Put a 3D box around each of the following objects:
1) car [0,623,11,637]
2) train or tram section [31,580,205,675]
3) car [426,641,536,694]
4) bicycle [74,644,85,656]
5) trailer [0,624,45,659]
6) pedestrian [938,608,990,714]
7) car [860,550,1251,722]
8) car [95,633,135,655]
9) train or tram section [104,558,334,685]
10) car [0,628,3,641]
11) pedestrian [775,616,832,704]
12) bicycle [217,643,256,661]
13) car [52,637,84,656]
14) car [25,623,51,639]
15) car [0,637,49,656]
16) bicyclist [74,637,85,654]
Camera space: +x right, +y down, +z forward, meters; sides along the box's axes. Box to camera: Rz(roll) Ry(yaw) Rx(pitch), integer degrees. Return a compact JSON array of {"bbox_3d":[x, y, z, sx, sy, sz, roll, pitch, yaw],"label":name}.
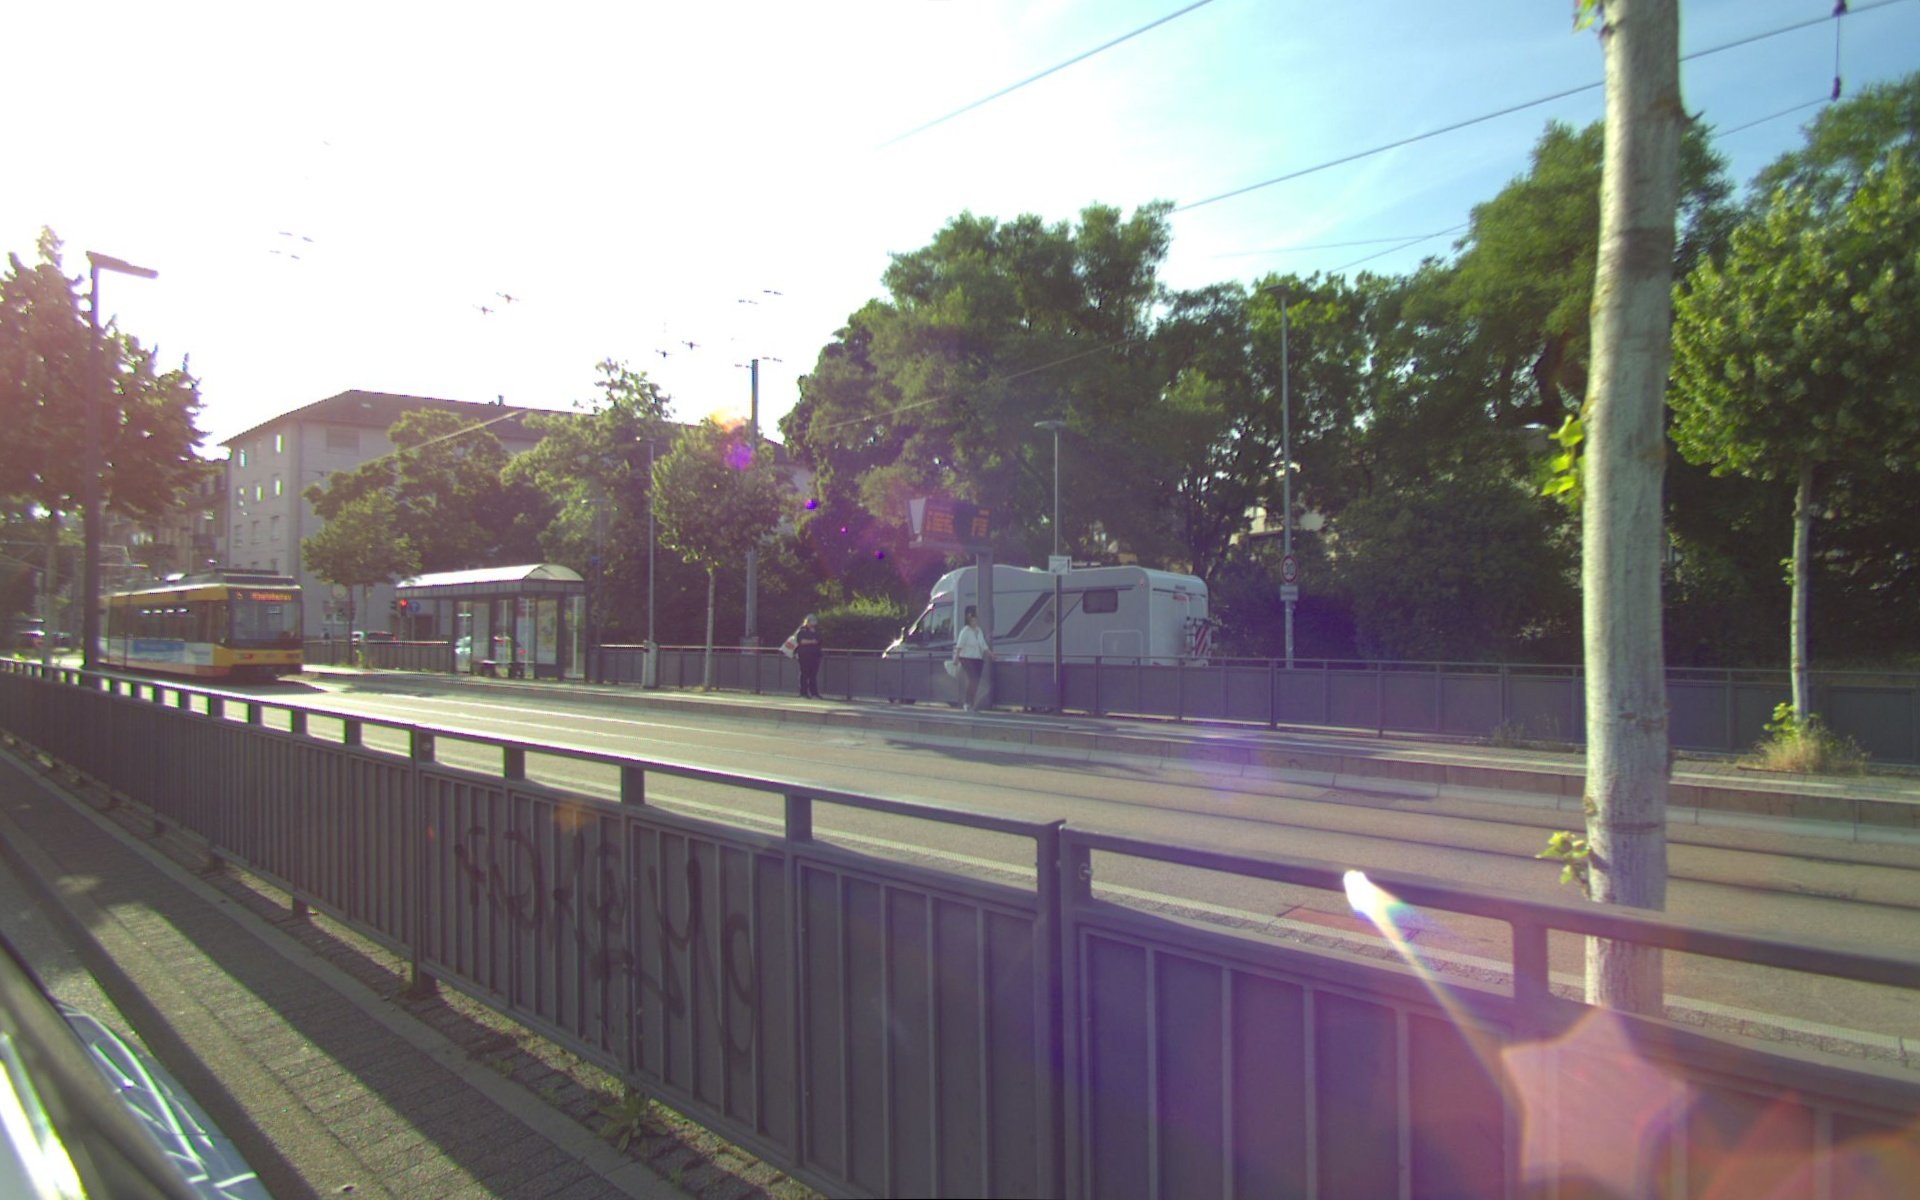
[{"bbox_3d":[-147.872,4.655,156.064,4.002,2.029,1.971,-2,-2,45],"label":"car"},{"bbox_3d":[-36.356,1.249,43.343,14.518,3.506,3.130,-2,-2,40],"label":"train or tram section"},{"bbox_3d":[-16.678,2.284,35.172,3.997,1.697,1.973,-2,-2,40],"label":"car"},{"bbox_3d":[-73.679,4.168,84.714,2.251,1.026,0.536,-2,-2,45],"label":"bicycle"},{"bbox_3d":[-68.503,3.007,73.268,2.817,2.410,1.728,0,-2,-17],"label":"trailer"},{"bbox_3d":[0.068,0.978,16.242,0.606,1.654,0.576,-2,-5,37],"label":"pedestrian"},{"bbox_3d":[1.552,0.699,19.655,7.464,2.756,2.569,-2,-2,41],"label":"car"},{"bbox_3d":[-72.718,3.760,87.103,4.611,1.763,2.141,-2,-2,44],"label":"car"},{"bbox_3d":[-25.289,0.828,33.990,14.463,3.506,3.129,-2,-2,41],"label":"train or tram section"},{"bbox_3d":[-157.425,5.653,164.765,3.998,2.029,1.973,-2,-2,41],"label":"car"},{"bbox_3d":[-3.001,1.137,19.414,0.859,1.654,0.660,-2,-2,25],"label":"pedestrian"},{"bbox_3d":[-45.428,3.257,63.560,1.883,1.119,0.737,1,-2,-28],"label":"bicycle"},{"bbox_3d":[-92.360,4.813,104.754,4.611,1.915,2.141,-2,-2,44],"label":"car"},{"bbox_3d":[-116.630,3.932,128.006,3.999,2.029,1.972,-2,-2,42],"label":"car"},{"bbox_3d":[-66.599,3.247,70.815,3.888,1.370,1.677,1,-2,-11],"label":"car"},{"bbox_3d":[-73.698,3.820,84.729,0.717,1.424,0.643,-3,-2,45],"label":"bicyclist"}]
